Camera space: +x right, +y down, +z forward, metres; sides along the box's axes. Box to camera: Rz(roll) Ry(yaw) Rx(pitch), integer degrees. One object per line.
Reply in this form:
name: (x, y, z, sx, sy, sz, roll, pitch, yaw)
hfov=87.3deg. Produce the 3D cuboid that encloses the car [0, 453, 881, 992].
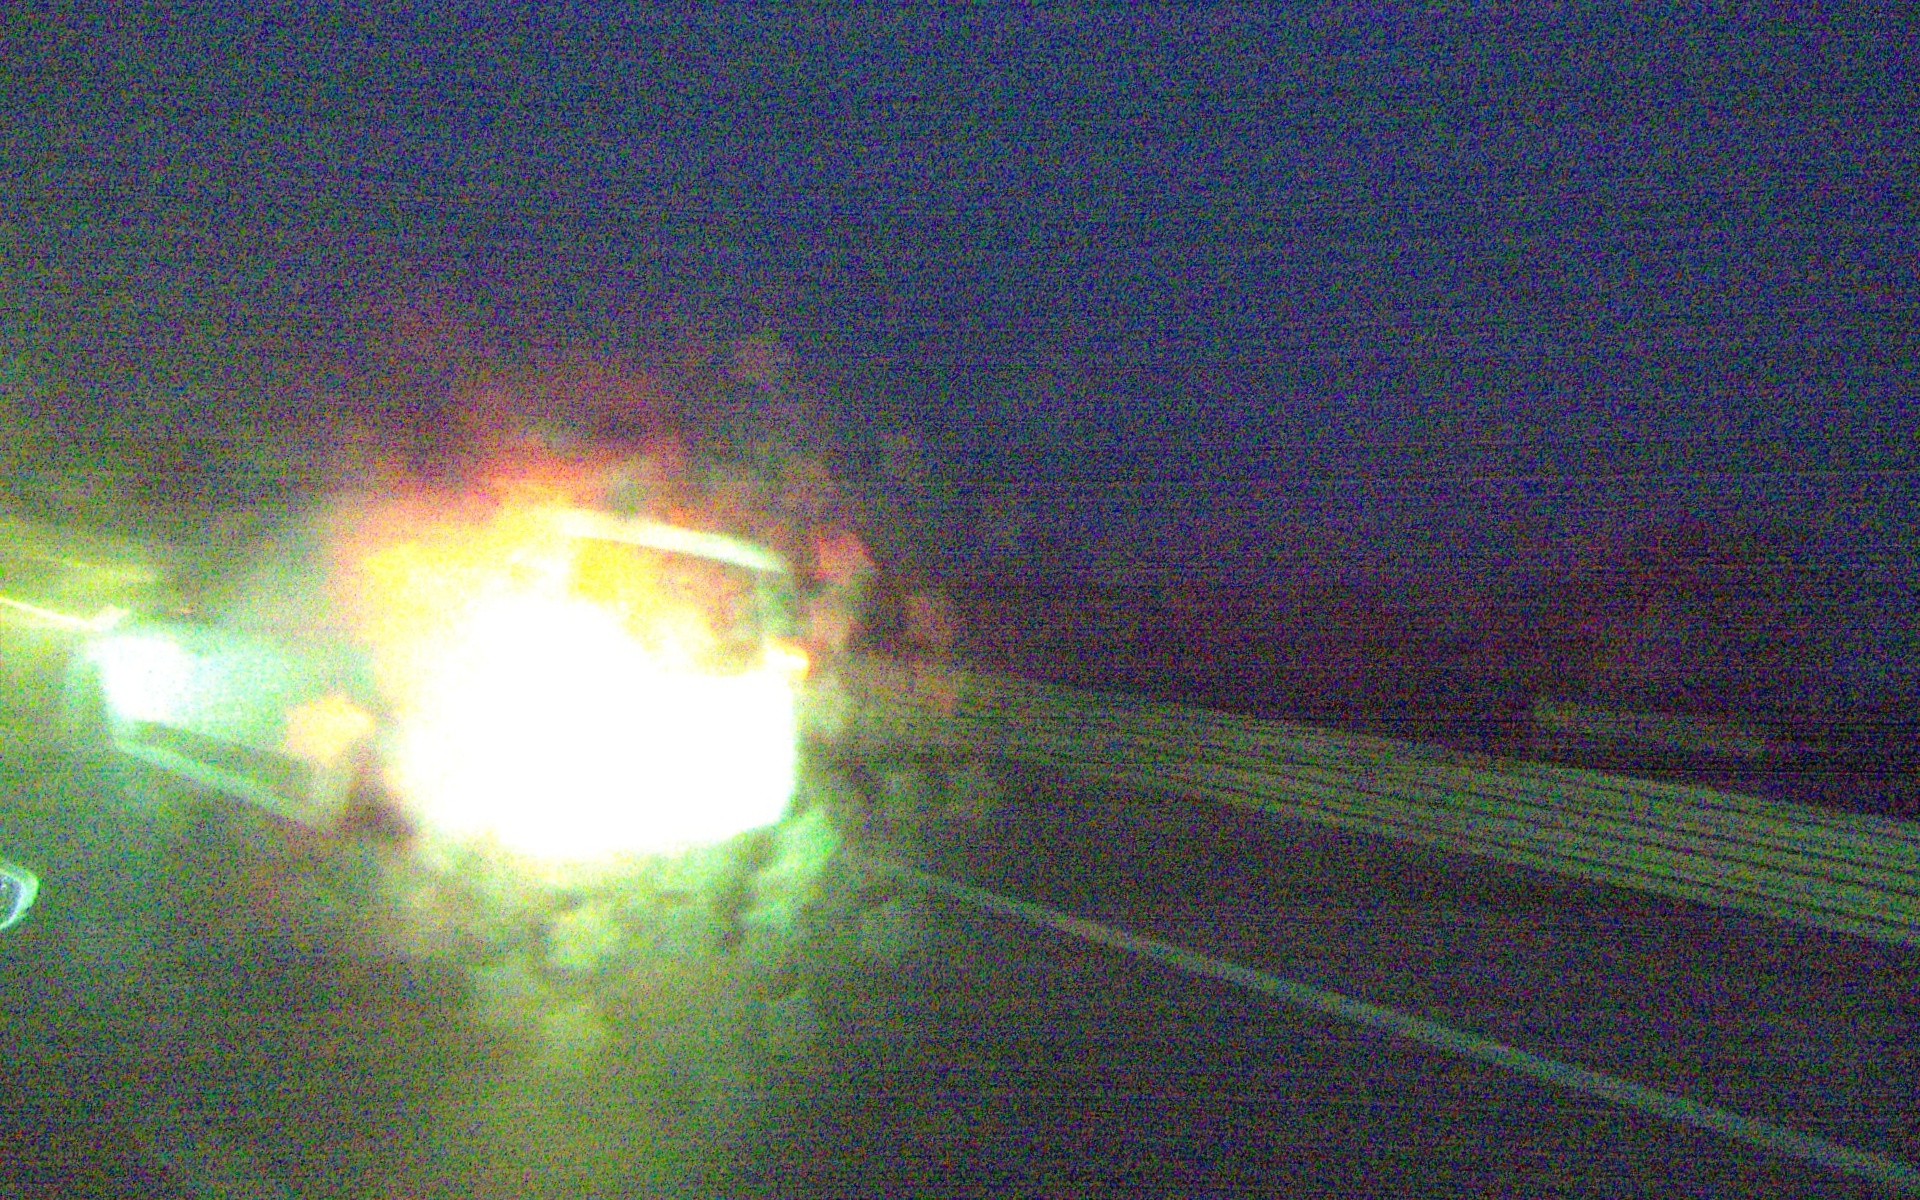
car: (-3.133, 0.320, 5.631, 5.040, 1.813, 1.957, 6, -2, 32)
